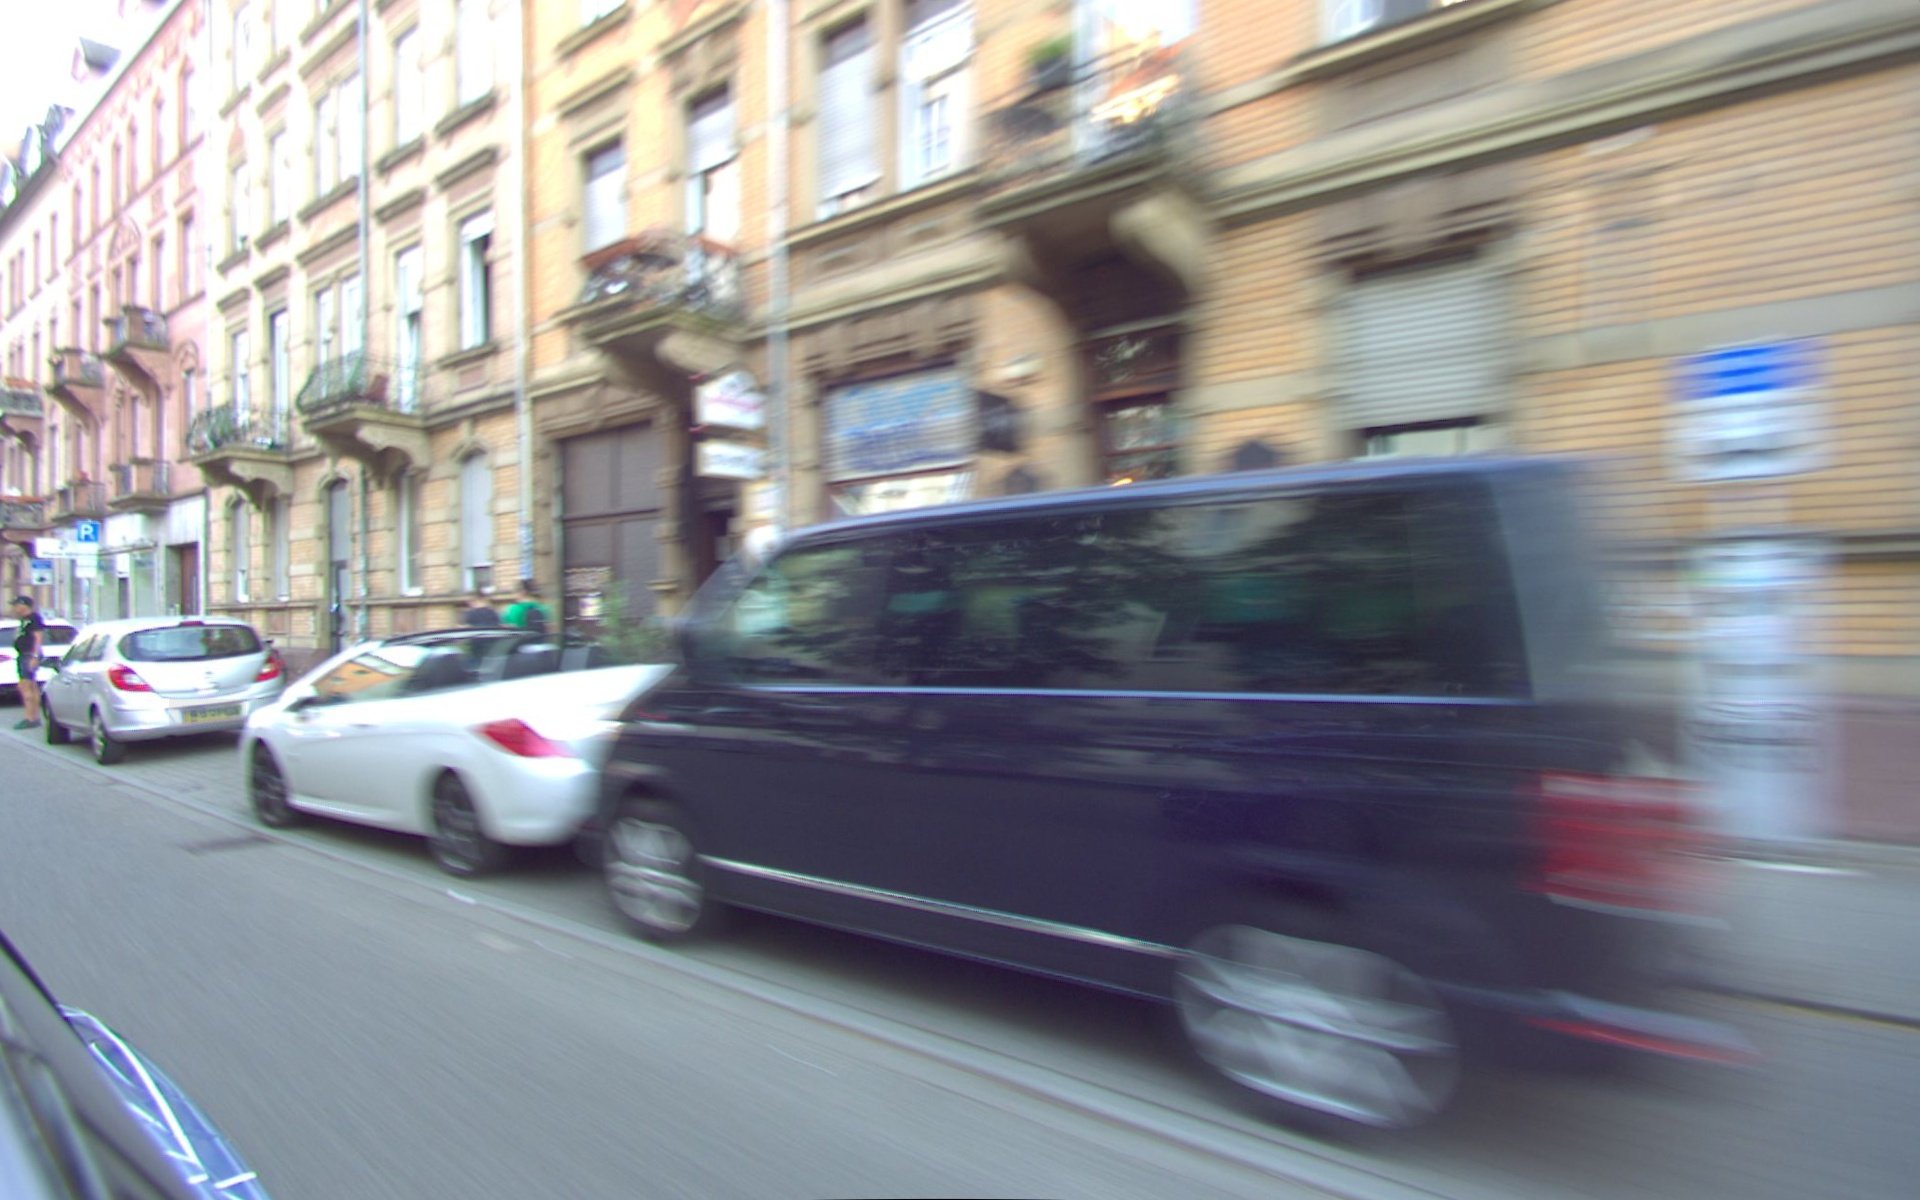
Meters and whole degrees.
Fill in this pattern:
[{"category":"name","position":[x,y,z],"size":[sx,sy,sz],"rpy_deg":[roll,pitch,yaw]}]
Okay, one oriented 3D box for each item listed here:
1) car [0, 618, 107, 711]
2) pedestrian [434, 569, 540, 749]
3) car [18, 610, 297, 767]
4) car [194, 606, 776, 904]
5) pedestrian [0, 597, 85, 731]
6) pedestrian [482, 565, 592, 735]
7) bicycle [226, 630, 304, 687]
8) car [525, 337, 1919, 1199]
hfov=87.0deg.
[{"category":"car","position":[-16.669,1.091,17.728],"size":[4.502,1.422,1.741],"rpy_deg":[-2,0,38]},{"category":"pedestrian","position":[-4.933,0.592,10.562],"size":[0.775,1.785,0.600],"rpy_deg":[-3,1,34]},{"category":"car","position":[-9.437,0.914,11.797],"size":[3.996,1.468,1.700],"rpy_deg":[-2,1,39]},{"category":"car","position":[-3.528,0.833,7.153],"size":[4.476,1.433,1.768],"rpy_deg":[-1,1,36]},{"category":"pedestrian","position":[-12.616,0.843,13.711],"size":[1.006,1.768,0.557],"rpy_deg":[-1,0,-8]},{"category":"pedestrian","position":[-4.675,0.536,11.172],"size":[0.995,1.785,0.575],"rpy_deg":[-3,1,34]},{"category":"bicycle","position":[-13.218,1.104,19.237],"size":[1.618,1.035,0.588],"rpy_deg":[-2,0,30]},{"category":"car","position":[0.528,0.464,4.212],"size":[4.940,1.938,1.976],"rpy_deg":[-1,1,35]}]
